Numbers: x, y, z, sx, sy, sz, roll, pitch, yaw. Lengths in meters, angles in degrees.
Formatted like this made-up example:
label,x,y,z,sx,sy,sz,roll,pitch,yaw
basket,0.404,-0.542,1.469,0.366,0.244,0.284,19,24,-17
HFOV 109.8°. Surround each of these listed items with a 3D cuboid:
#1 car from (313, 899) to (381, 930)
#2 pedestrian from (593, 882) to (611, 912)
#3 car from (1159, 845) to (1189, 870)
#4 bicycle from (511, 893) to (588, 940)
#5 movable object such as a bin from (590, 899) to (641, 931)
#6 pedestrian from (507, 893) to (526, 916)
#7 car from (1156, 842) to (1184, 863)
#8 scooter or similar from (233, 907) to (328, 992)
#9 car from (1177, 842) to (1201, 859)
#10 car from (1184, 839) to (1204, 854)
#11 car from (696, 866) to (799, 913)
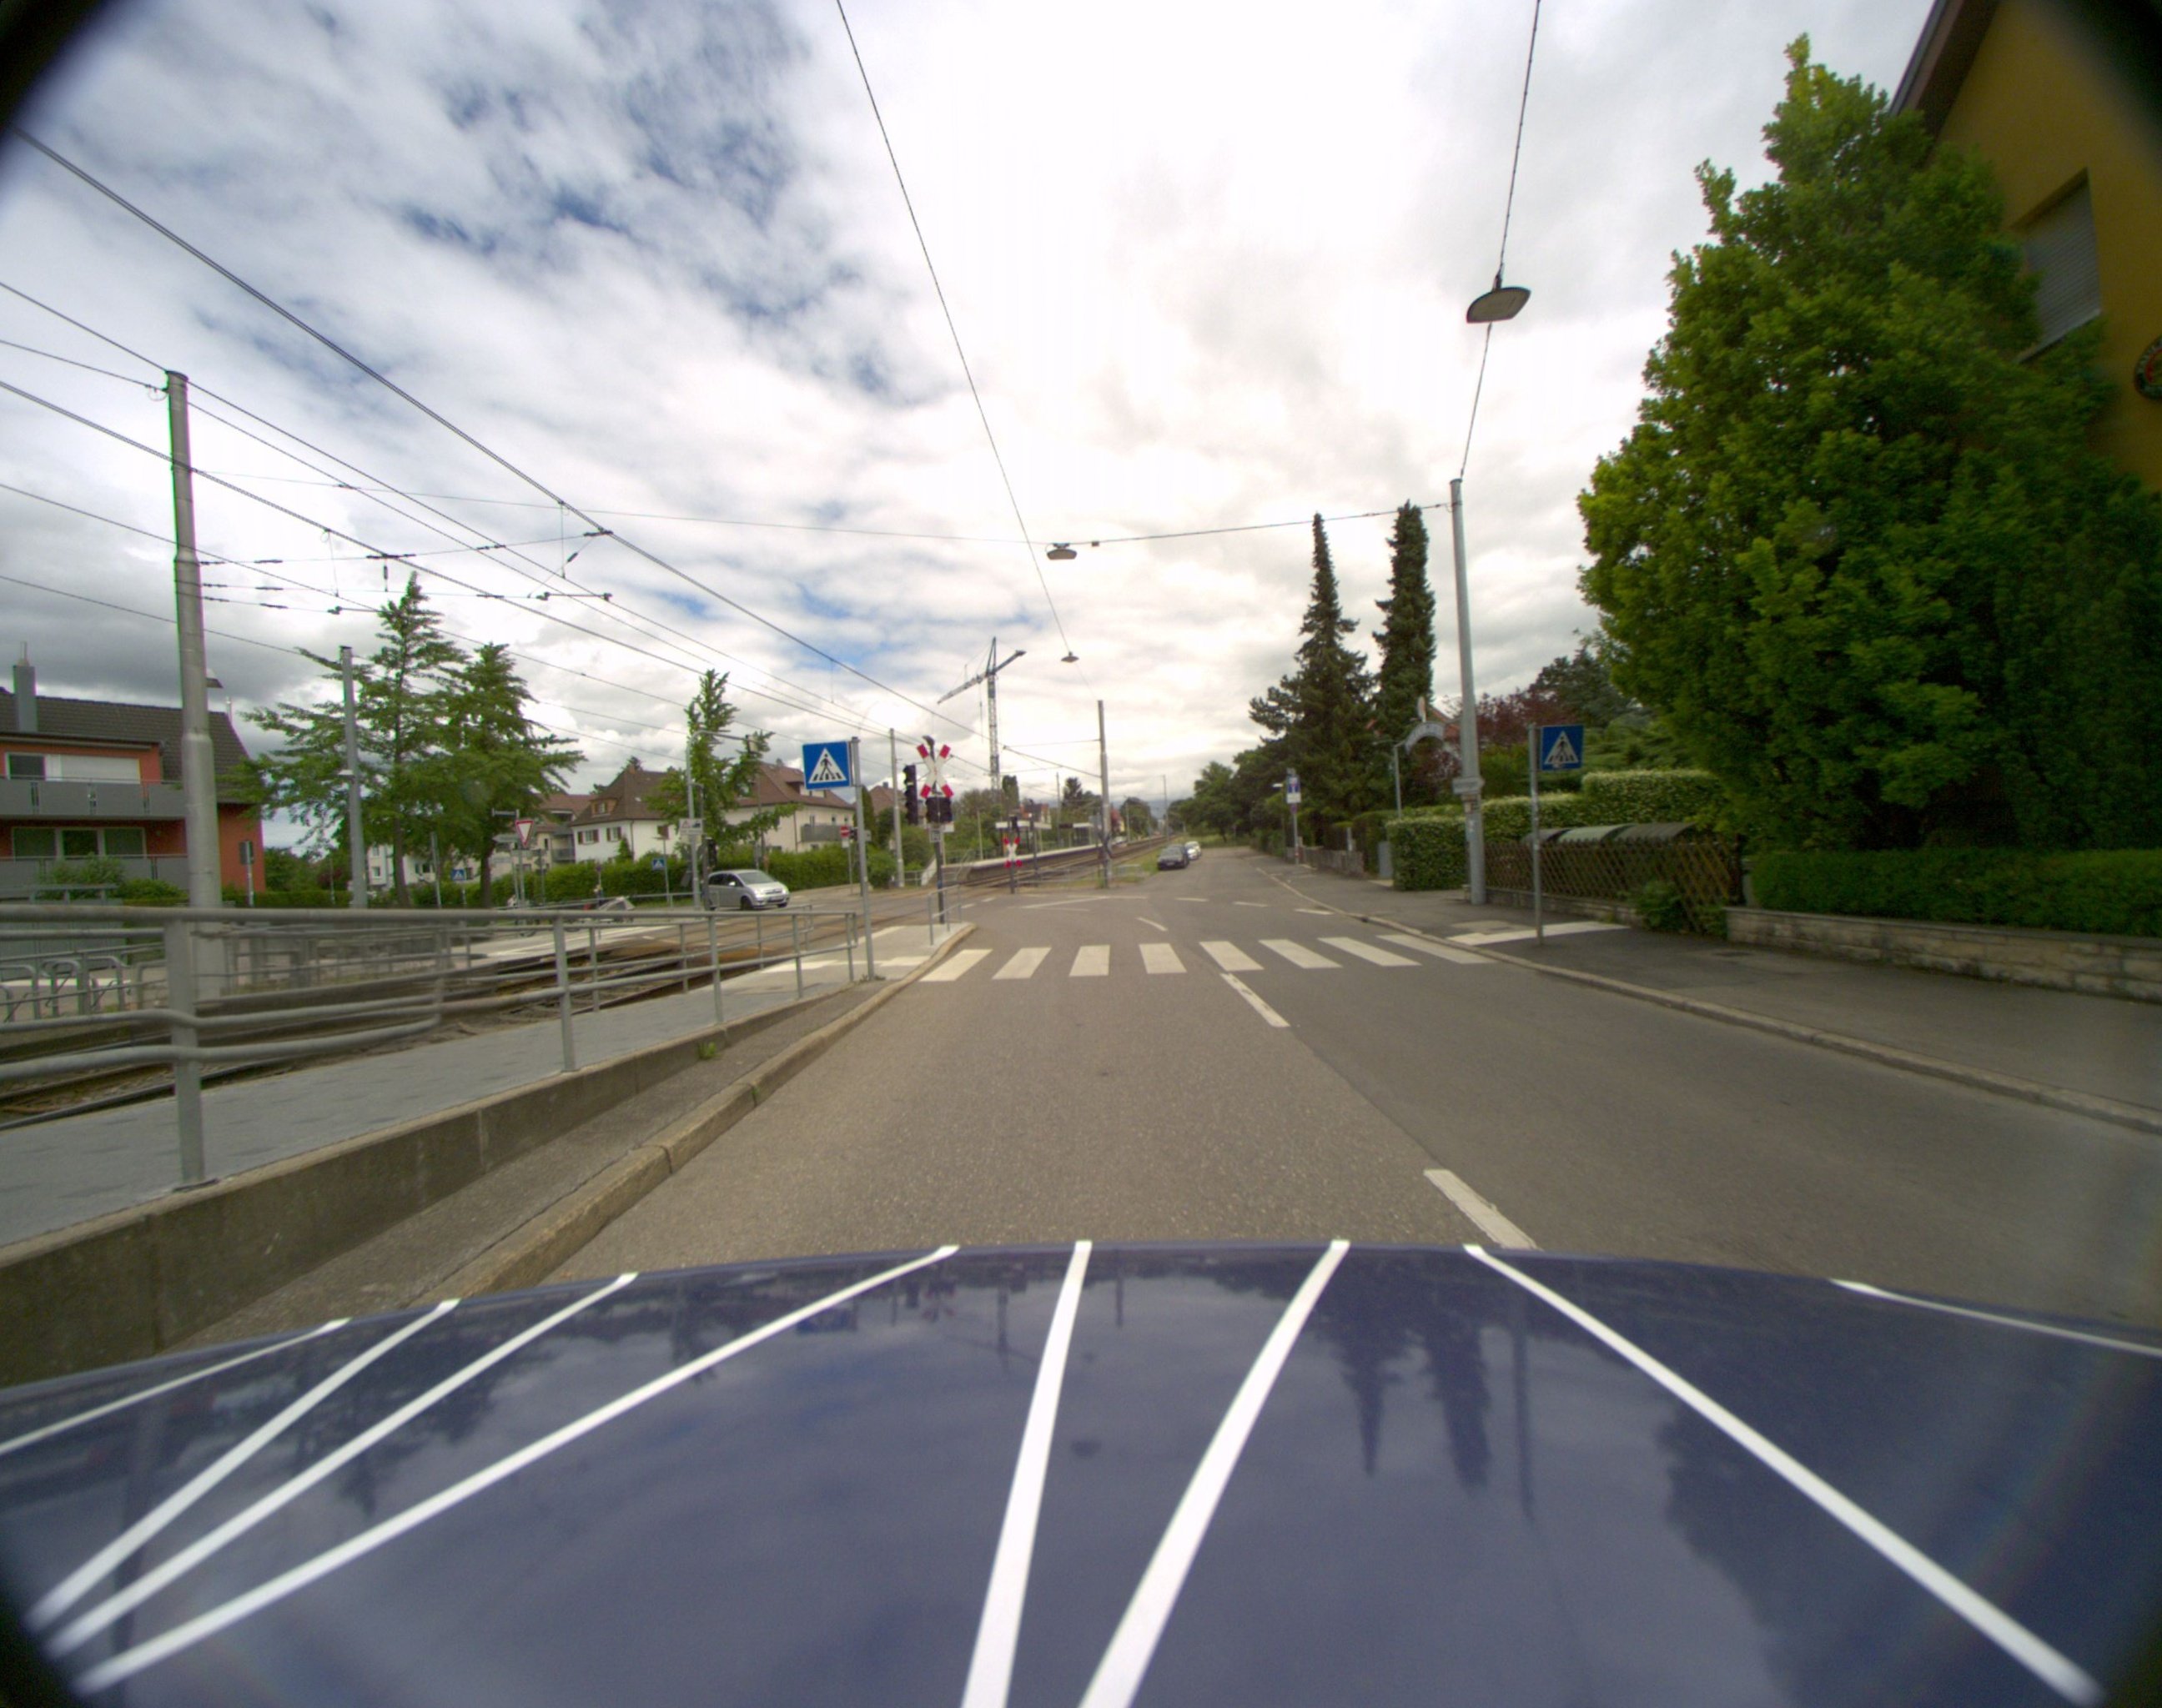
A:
label,x,y,z,sx,sy,sz,roll,pitch,yaw
car,-45.910,3.780,47.494,4.455,1.627,1.856,-4,1,31
pedestrian,-27.224,2.412,43.198,0.599,1.611,0.676,-7,3,-26
car,6.470,0.209,52.550,1.820,1.493,4.121,-4,1,8
bicycle,-14.859,1.725,21.304,0.465,1.149,1.695,-3,1,25
movable object such as a bin,-13.801,1.795,22.561,0.578,0.820,1.096,-3,1,29
pedestrian,-40.139,3.580,54.042,0.543,1.522,0.750,-4,2,21
car,7.094,-0.131,60.493,1.852,1.472,4.002,-4,1,11
scooter or similar,-13.267,1.567,12.597,1.050,1.308,0.490,-3,0,5
car,9.854,-0.344,69.211,1.852,1.368,4.002,-4,1,11
car,11.976,-0.790,80.186,1.852,1.368,4.002,-4,1,11
car,-13.110,1.406,29.816,3.917,1.559,1.730,-4,1,33
